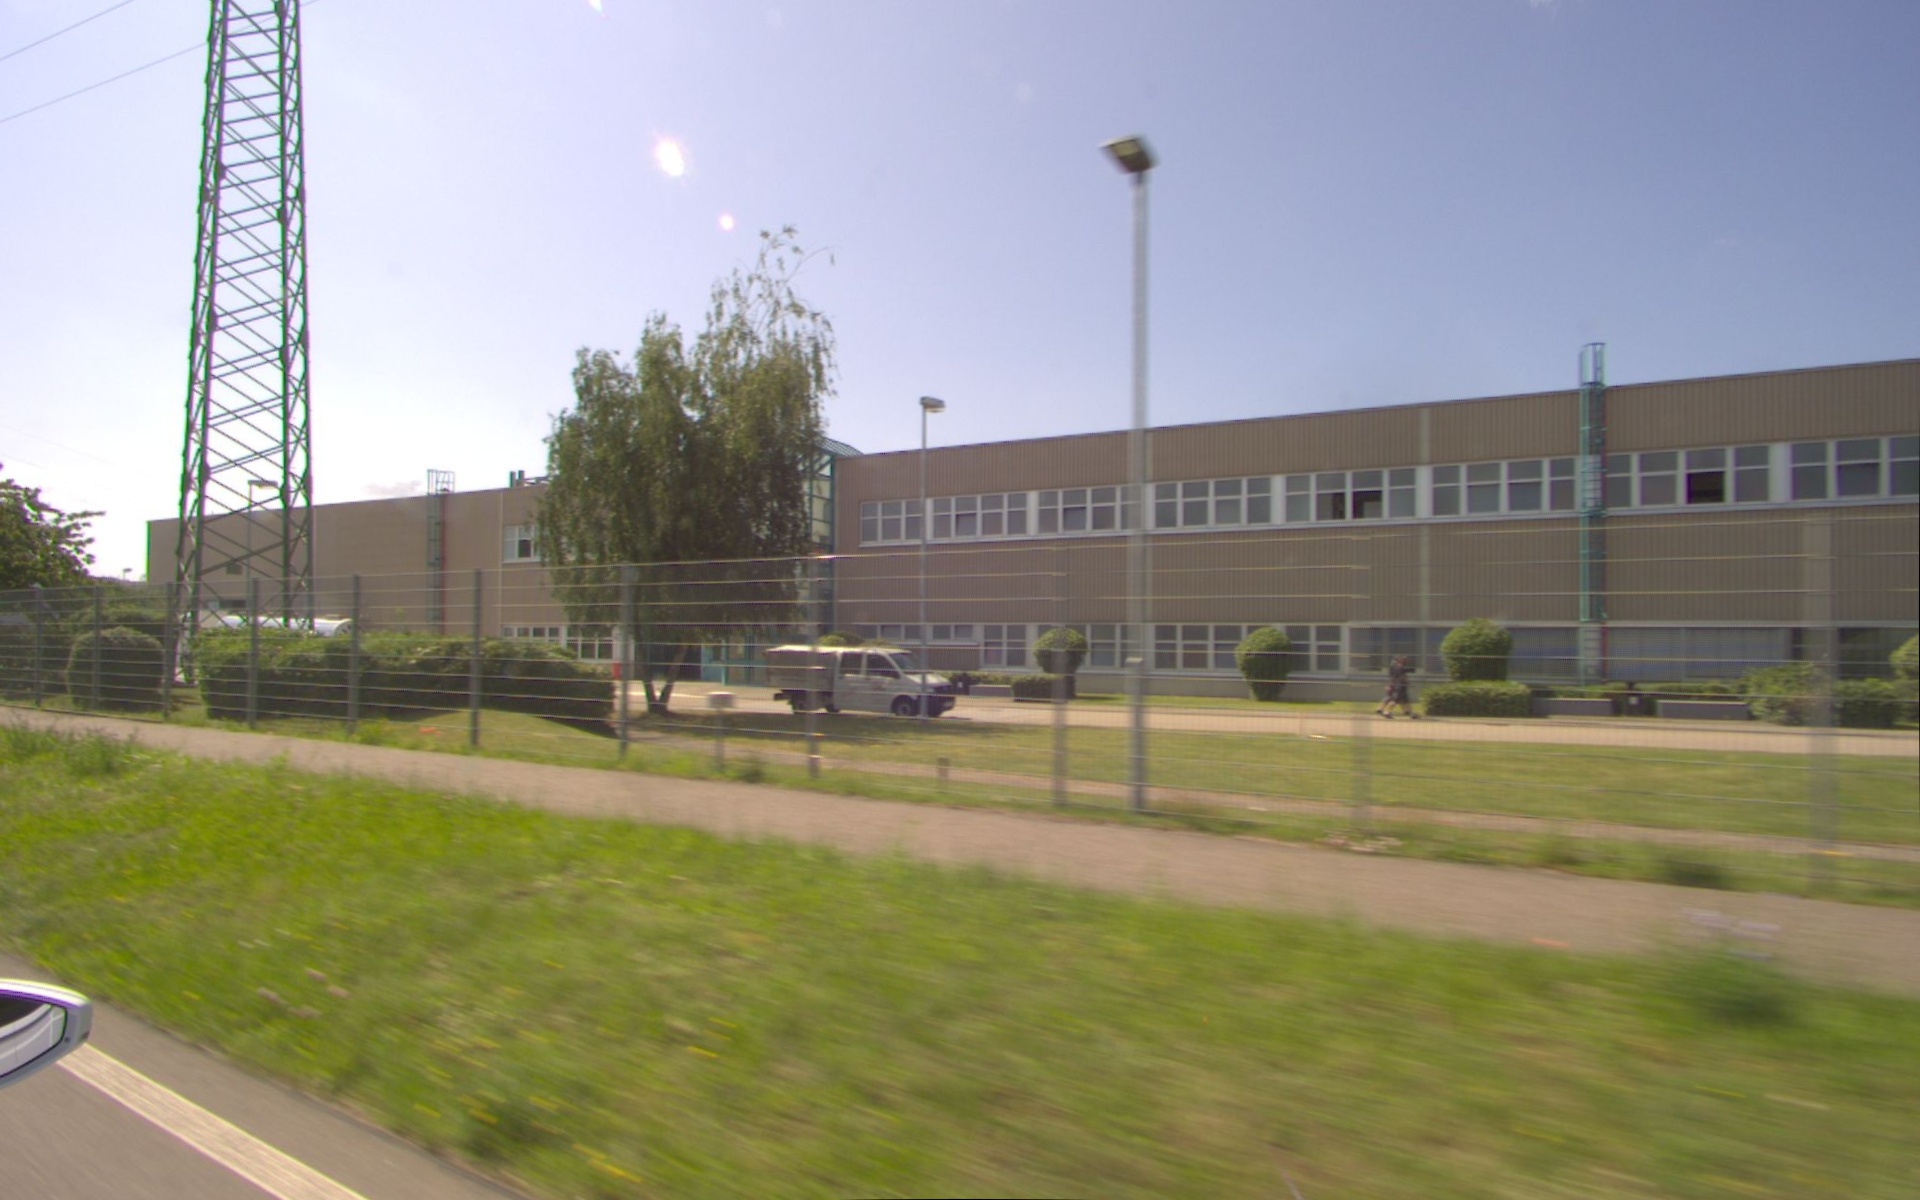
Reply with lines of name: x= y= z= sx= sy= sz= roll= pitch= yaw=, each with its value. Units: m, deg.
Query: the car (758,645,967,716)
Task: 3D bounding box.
car: x=-2.762 y=2.215 z=28.313 sx=5.561 sy=1.801 sz=2.112 roll=0 pitch=-3 yaw=24

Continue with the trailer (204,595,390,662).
trailer: x=-40.317 y=1.668 z=60.767 sx=12.037 sy=3.783 sz=3.592 roll=0 pitch=-1 yaw=25

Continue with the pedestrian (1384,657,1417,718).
pedestrian: x=12.472 y=2.454 z=28.322 sx=0.823 sy=1.690 sz=0.547 roll=0 pitch=-2 yaw=27

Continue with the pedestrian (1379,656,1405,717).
pedestrian: x=12.549 y=2.495 z=29.089 sx=0.653 sy=1.738 sz=0.486 roll=0 pitch=-2 yaw=28
